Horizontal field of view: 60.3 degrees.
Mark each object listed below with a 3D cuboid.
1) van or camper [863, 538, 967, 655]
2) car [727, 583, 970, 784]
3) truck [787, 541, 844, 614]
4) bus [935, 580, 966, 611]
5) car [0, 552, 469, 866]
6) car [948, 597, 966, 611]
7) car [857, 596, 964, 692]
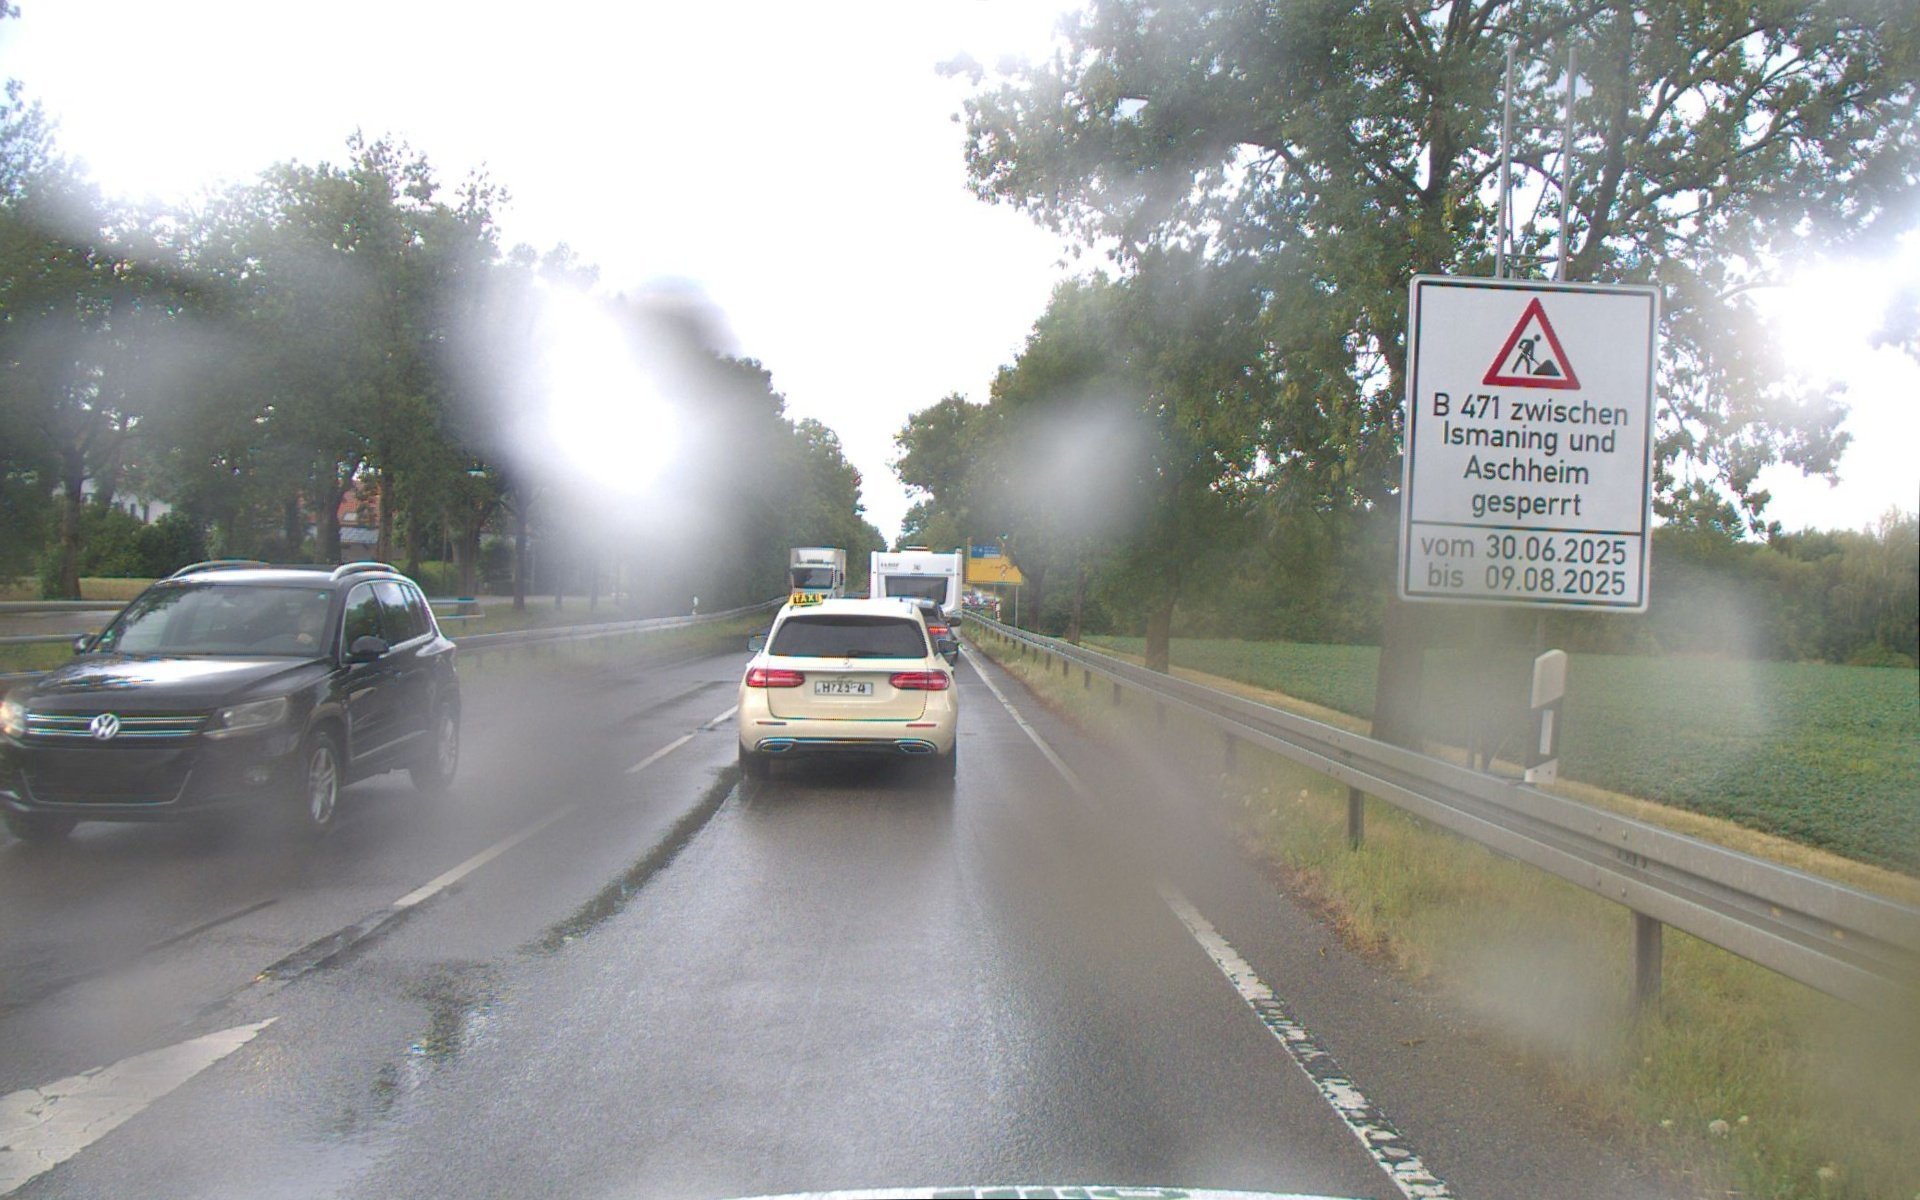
[{"bbox_3d":[-1.087,-0.085,42.203,2.439,2.732,5.700,1,0,0],"label":"van or camper"},{"bbox_3d":[-0.858,0.626,14.533,1.827,1.502,4.000,1,0,0],"label":"car"},{"bbox_3d":[-7.363,-1.128,85.396,2.525,3.512,9.551,0,0,-3],"label":"truck"},{"bbox_3d":[-0.643,-0.286,111.611,1.953,2.049,3.999,0,0,-2],"label":"bus"},{"bbox_3d":[-4.590,0.564,10.713,1.728,1.647,3.998,1,0,-2],"label":"car"},{"bbox_3d":[-0.254,0.372,143.665,1.520,1.138,3.999,1,0,-1],"label":"car"},{"bbox_3d":[-0.773,0.671,27.318,1.630,1.456,4.000,1,0,0],"label":"car"}]
